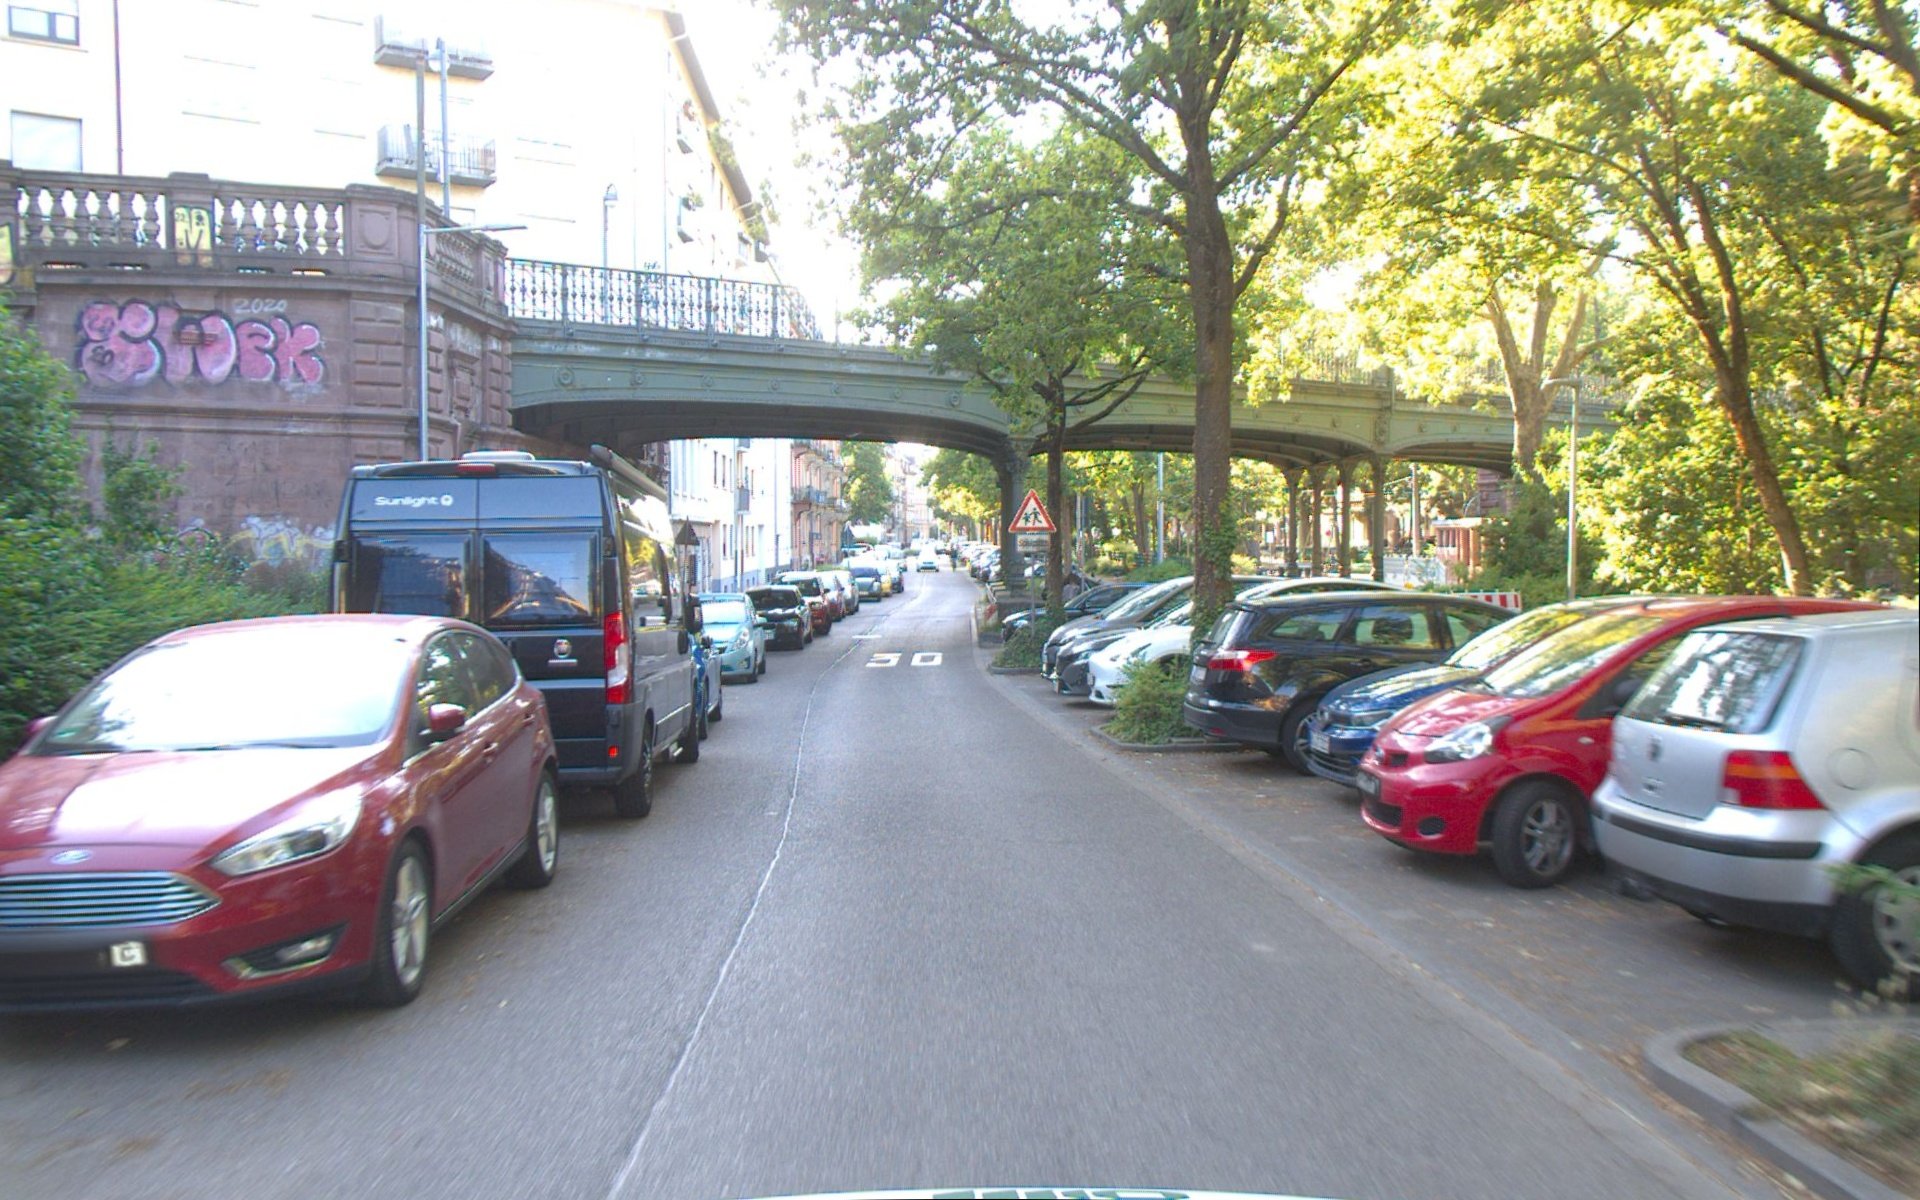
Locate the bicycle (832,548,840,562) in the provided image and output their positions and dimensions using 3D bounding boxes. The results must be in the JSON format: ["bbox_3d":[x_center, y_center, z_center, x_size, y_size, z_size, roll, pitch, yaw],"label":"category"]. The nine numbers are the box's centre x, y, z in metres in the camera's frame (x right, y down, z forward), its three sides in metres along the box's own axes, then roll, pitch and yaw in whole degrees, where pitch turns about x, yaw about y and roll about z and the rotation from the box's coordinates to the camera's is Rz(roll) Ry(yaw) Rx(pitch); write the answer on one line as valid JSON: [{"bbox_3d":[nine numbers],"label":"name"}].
[{"bbox_3d":[-11.192,-4.077,149.597,0.691,1.167,1.888,1,0,-4],"label":"bicycle"}]

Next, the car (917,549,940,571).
[{"bbox_3d":[-2.427,-3.065,127.052,1.634,1.455,4.001,-3,3,0],"label":"car"}]

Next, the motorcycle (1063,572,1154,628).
[{"bbox_3d":[3.423,0.004,38.200,1.906,1.259,0.897,1,0,-26],"label":"motorcycle"}]

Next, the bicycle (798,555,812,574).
[{"bbox_3d":[-10.173,-2.338,108.537,0.721,1.227,2.514,1,3,0],"label":"bicycle"}]

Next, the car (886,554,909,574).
[{"bbox_3d":[-4.903,-2.822,129.175,1.472,1.459,2.755,-1,2,4],"label":"car"}]

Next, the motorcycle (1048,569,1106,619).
[{"bbox_3d":[3.415,-0.177,48.234,1.566,1.433,0.713,1,0,19],"label":"motorcycle"}]

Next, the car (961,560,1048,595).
[{"bbox_3d":[1.921,-0.987,72.035,3.704,1.426,1.827,-1,0,0],"label":"car"}]

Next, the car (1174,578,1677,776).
[{"bbox_3d":[3.973,0.638,14.479,3.940,1.601,1.586,1,0,-3],"label":"car"}]

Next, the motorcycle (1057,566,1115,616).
[{"bbox_3d":[3.752,-0.273,49.151,1.566,1.433,0.713,1,0,19],"label":"motorcycle"}]

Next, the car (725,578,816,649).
[{"bbox_3d":[-4.469,0.278,39.505,1.682,1.489,4.000,-1,2,0],"label":"car"}]

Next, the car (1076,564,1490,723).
[{"bbox_3d":[3.692,0.485,19.416,4.442,1.725,1.907,1,0,-3],"label":"car"}]

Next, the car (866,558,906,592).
[{"bbox_3d":[-3.564,-1.209,79.905,1.704,1.505,4.001,-1,2,0],"label":"car"}]

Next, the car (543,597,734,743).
[{"bbox_3d":[-3.671,0.736,19.561,1.710,1.492,4.371,1,0,-5],"label":"car"}]

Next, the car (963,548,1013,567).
[{"bbox_3d":[2.428,-3.647,142.388,4.132,1.478,1.650,-2,2,3],"label":"car"}]

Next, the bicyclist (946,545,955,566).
[{"bbox_3d":[-0.734,-3.392,127.136,0.615,1.600,0.802,1,0,-2],"label":"bicyclist"}]

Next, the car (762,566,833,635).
[{"bbox_3d":[-4.418,-0.029,45.400,1.682,1.737,4.321,-1,2,-3],"label":"car"}]

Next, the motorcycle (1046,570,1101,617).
[{"bbox_3d":[3.511,-0.197,51.117,1.566,1.433,0.713,1,0,19],"label":"motorcycle"}]

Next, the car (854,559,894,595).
[{"bbox_3d":[-3.887,-1.060,75.030,1.668,1.551,3.773,-1,2,-1],"label":"car"}]

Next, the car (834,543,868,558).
[{"bbox_3d":[-13.252,-5.987,201.250,3.905,1.735,2.000,1,0,0],"label":"car"}]

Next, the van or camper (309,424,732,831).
[{"bbox_3d":[-3.221,0.158,13.714,2.192,2.567,6.416,1,0,-4],"label":"van or camper"}]

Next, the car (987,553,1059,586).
[{"bbox_3d":[3.329,-1.618,87.772,3.705,1.675,1.664,-1,0,-1],"label":"car"}]

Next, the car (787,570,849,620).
[{"bbox_3d":[-4.494,-0.193,52.939,1.655,1.466,4.000,-1,2,-1],"label":"car"}]

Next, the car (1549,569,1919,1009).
[{"bbox_3d":[4.697,0.705,6.873,3.904,1.601,1.666,1,0,1],"label":"car"}]

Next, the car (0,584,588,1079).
[{"bbox_3d":[-2.899,0.734,7.383,1.665,1.533,4.226,-2,0,-3],"label":"car"}]

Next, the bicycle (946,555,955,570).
[{"bbox_3d":[-0.736,-2.898,127.219,0.628,1.119,1.943,1,0,-2],"label":"bicycle"}]

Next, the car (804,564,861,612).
[{"bbox_3d":[-4.396,-0.438,57.594,1.603,1.492,4.000,-3,2,0],"label":"car"}]

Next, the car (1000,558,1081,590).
[{"bbox_3d":[3.889,-1.262,79.941,3.708,1.426,1.765,-1,0,-5],"label":"car"}]

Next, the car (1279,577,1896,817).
[{"bbox_3d":[4.452,0.662,12.080,3.907,1.601,1.586,1,0,-3],"label":"car"}]

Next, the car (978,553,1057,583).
[{"bbox_3d":[3.246,-1.784,92.496,4.307,1.605,1.665,-1,0,4],"label":"car"}]

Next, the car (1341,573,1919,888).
[{"bbox_3d":[4.303,0.681,9.348,3.907,1.601,1.586,1,0,-3],"label":"car"}]

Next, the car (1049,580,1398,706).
[{"bbox_3d":[3.411,0.545,21.989,4.287,1.559,1.875,1,0,-3],"label":"car"}]

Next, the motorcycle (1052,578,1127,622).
[{"bbox_3d":[3.435,-0.003,43.941,1.808,1.152,0.844,1,0,-25],"label":"motorcycle"}]

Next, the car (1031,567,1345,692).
[{"bbox_3d":[3.312,0.419,24.498,4.289,1.738,1.905,1,0,-5],"label":"car"}]

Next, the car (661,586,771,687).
[{"bbox_3d":[-4.295,0.592,29.572,1.563,1.574,3.913,-2,1,-4],"label":"car"}]

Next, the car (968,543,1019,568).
[{"bbox_3d":[2.802,-3.692,137.942,4.133,1.896,1.762,-2,2,0],"label":"car"}]

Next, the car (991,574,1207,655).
[{"bbox_3d":[2.833,0.290,34.317,4.287,1.605,1.673,1,0,-3],"label":"car"}]

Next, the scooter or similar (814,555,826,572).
[{"bbox_3d":[-10.692,-2.796,126.542,0.767,1.243,2.704,1,0,-1],"label":"scooter or similar"}]

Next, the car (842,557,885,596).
[{"bbox_3d":[-4.006,-1.015,69.215,1.534,1.544,3.783,-1,2,1],"label":"car"}]

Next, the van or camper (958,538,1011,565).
[{"bbox_3d":[2.287,-4.536,154.900,4.882,2.418,2.184,1,0,-3],"label":"van or camper"}]

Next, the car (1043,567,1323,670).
[{"bbox_3d":[3.649,0.299,27.644,4.490,1.634,1.735,-1,0,2],"label":"car"}]
